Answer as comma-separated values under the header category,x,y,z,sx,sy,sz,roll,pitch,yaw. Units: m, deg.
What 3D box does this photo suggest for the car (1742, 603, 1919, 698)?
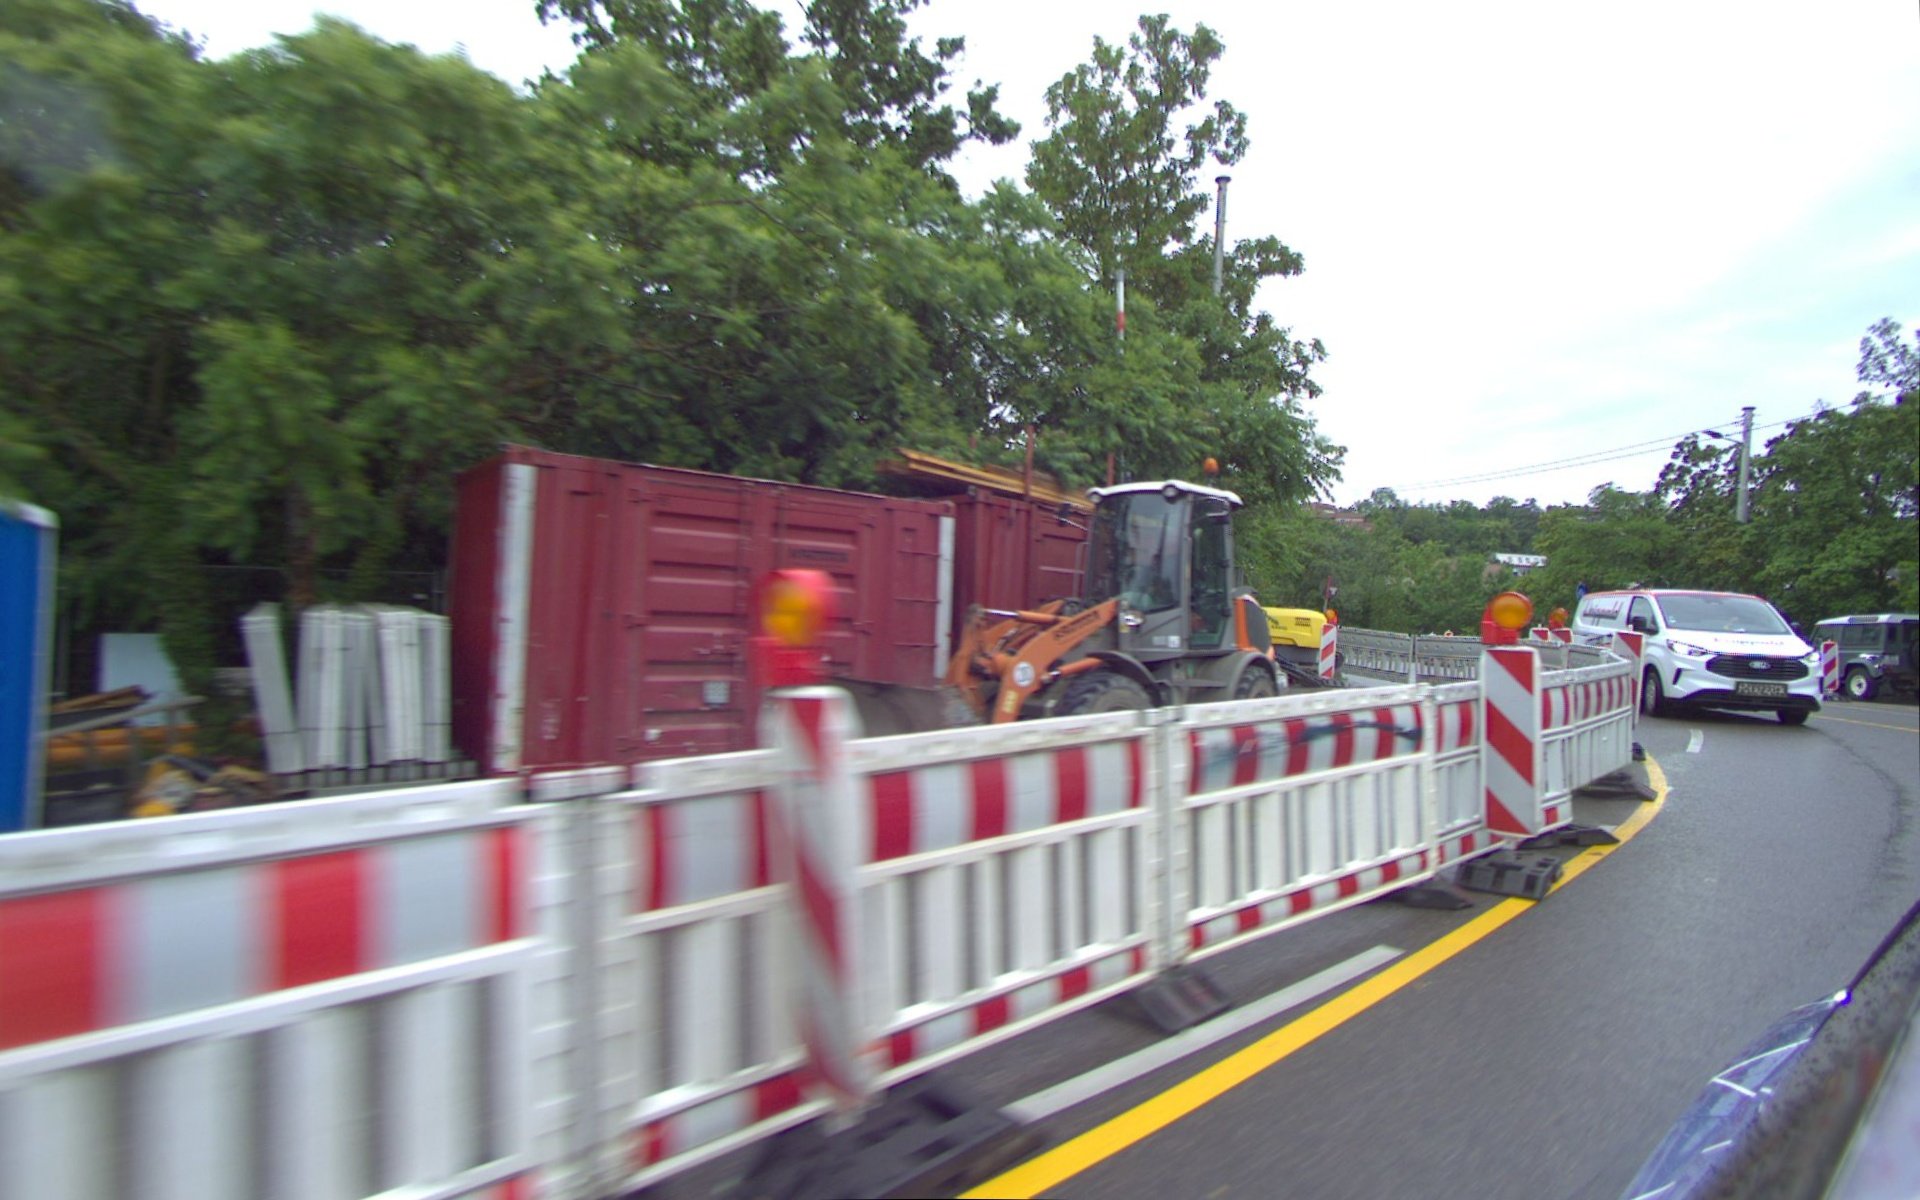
category,x,y,z,sx,sy,sz,roll,pitch,yaw
car,21.445,1.193,24.242,1.837,2.039,4.808,2,-2,3

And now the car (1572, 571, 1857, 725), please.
category,x,y,z,sx,sy,sz,roll,pitch,yaw
car,11.709,0.574,16.210,1.972,2.038,4.926,1,2,16

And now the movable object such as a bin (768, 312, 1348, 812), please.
category,x,y,z,sx,sy,sz,roll,pitch,yaw
movable object such as a bin,1.192,0.005,9.082,5.191,3.269,2.078,8,-6,-42
